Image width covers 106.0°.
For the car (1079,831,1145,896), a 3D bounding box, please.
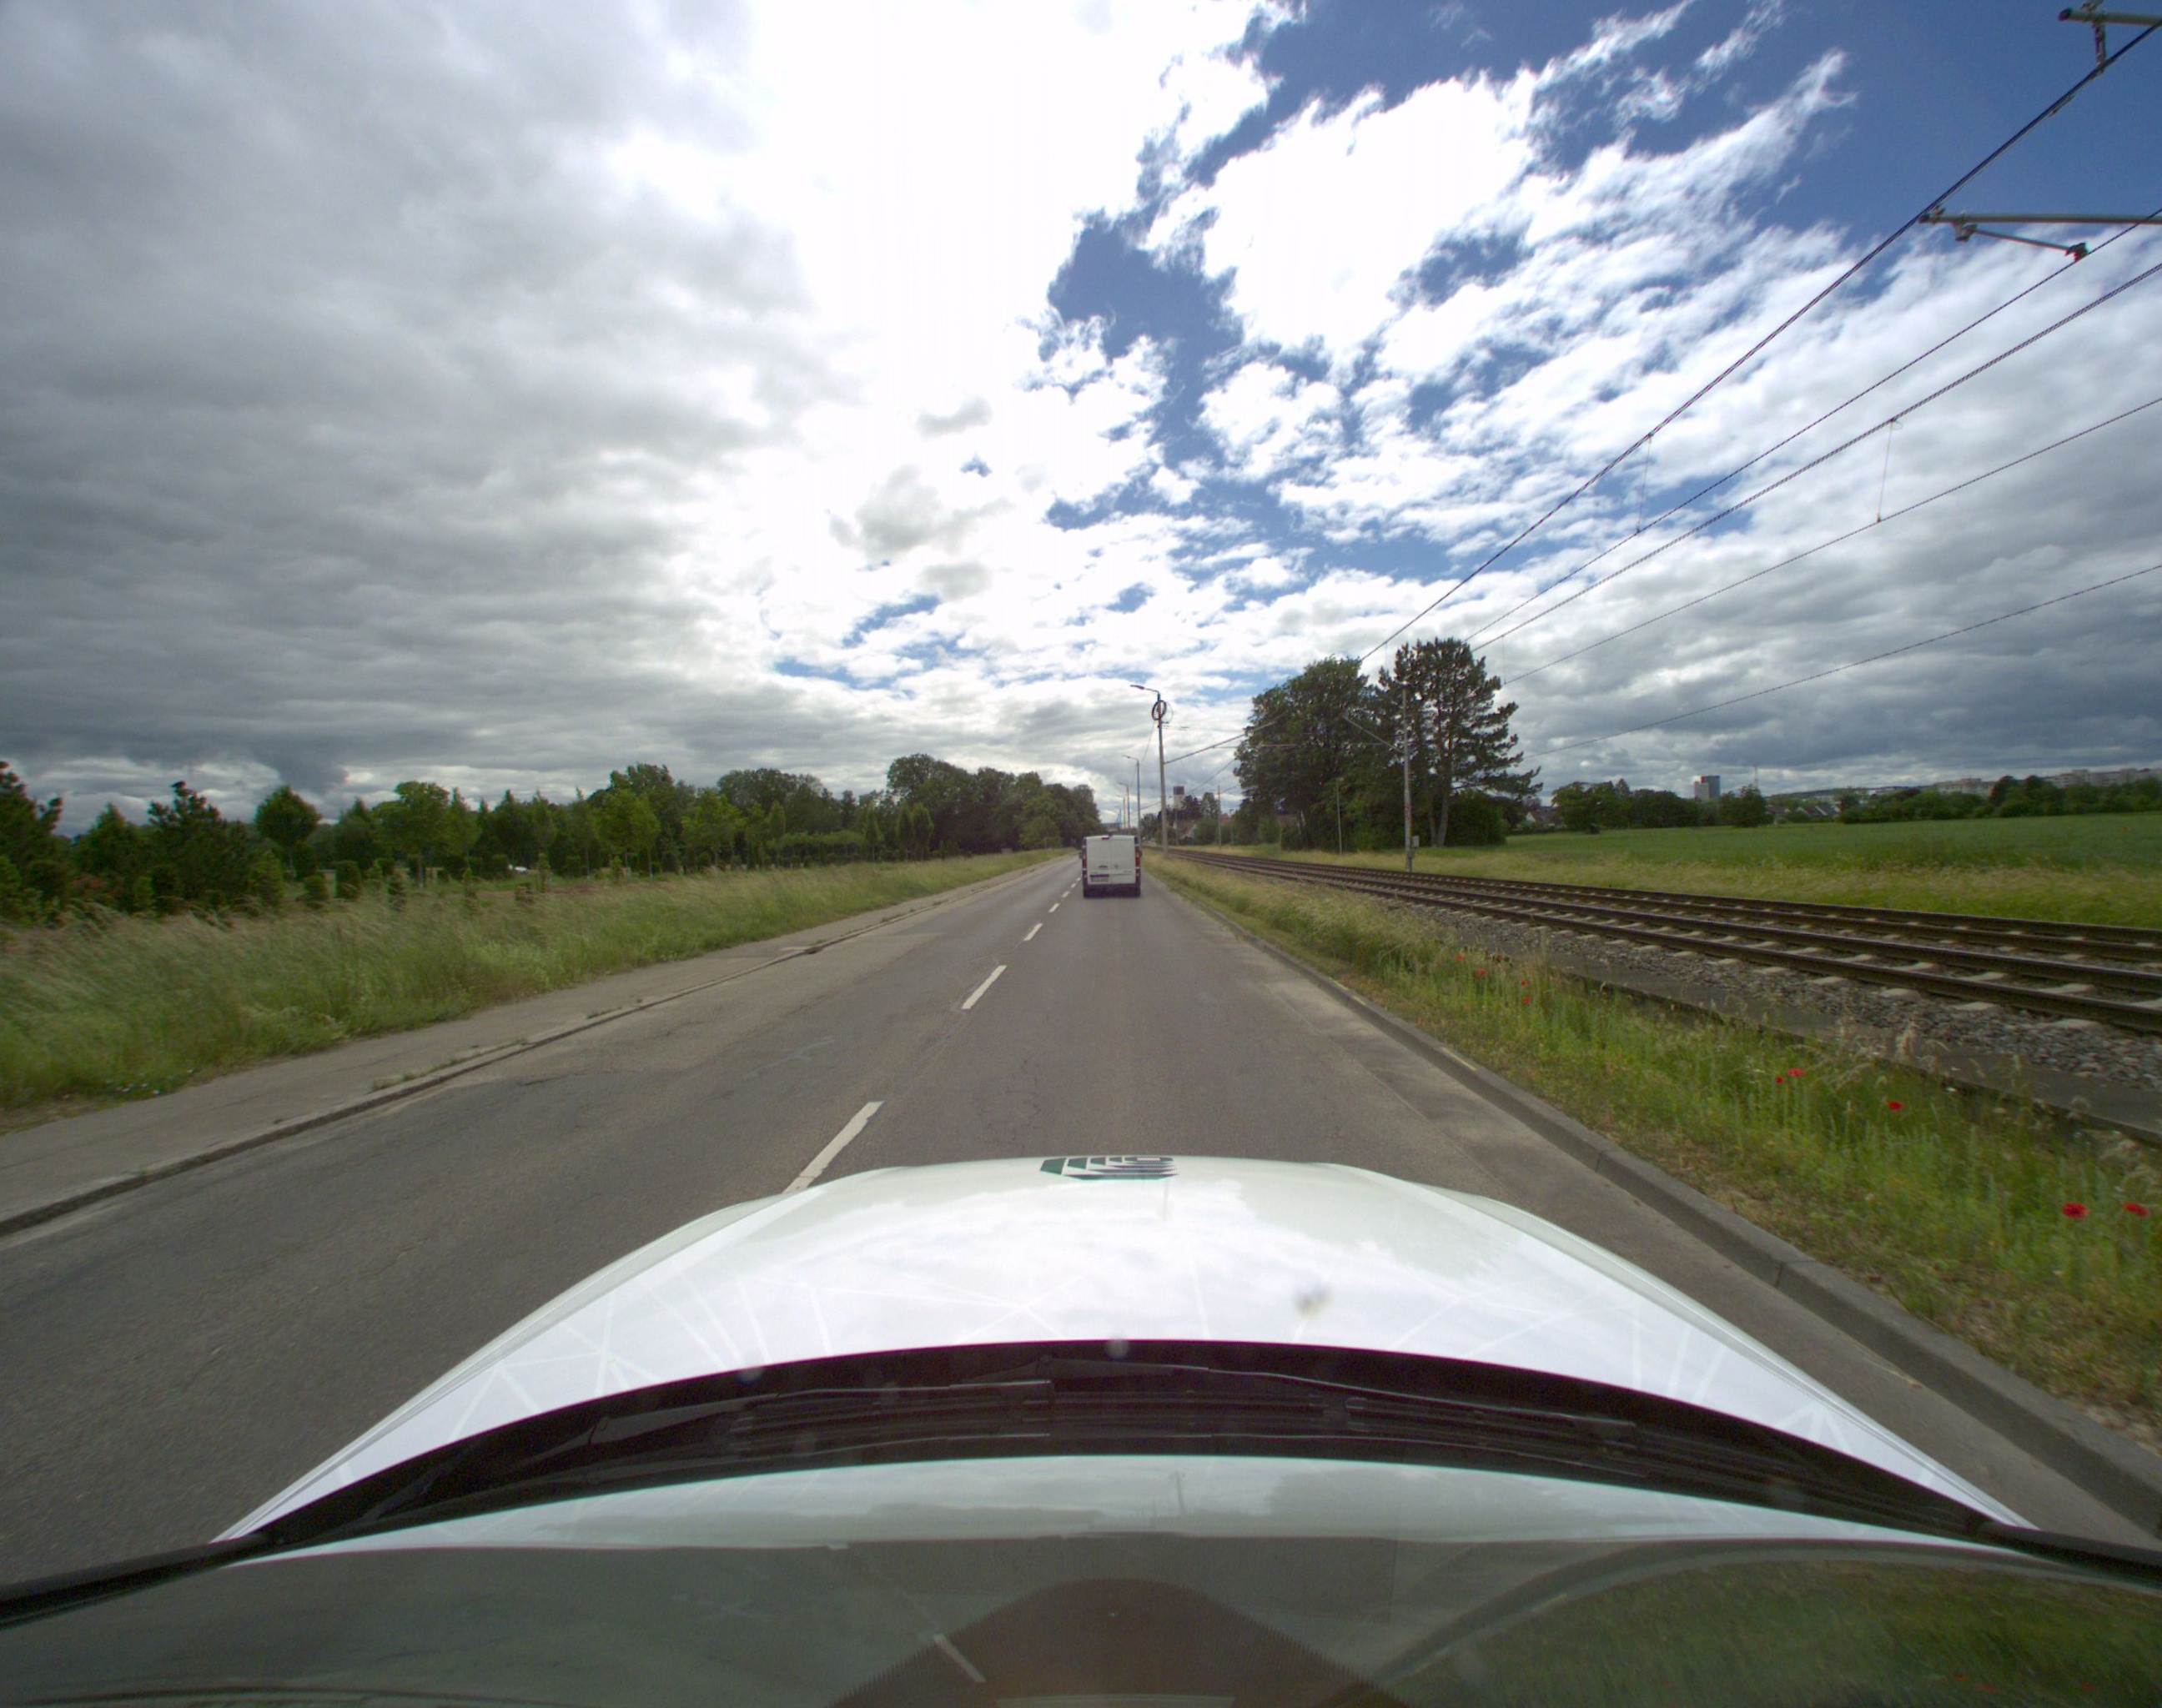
[{"bbox_3d":[0.982,0.277,27.035,1.987,1.957,4.001,-2,0,1],"label":"car"}]
